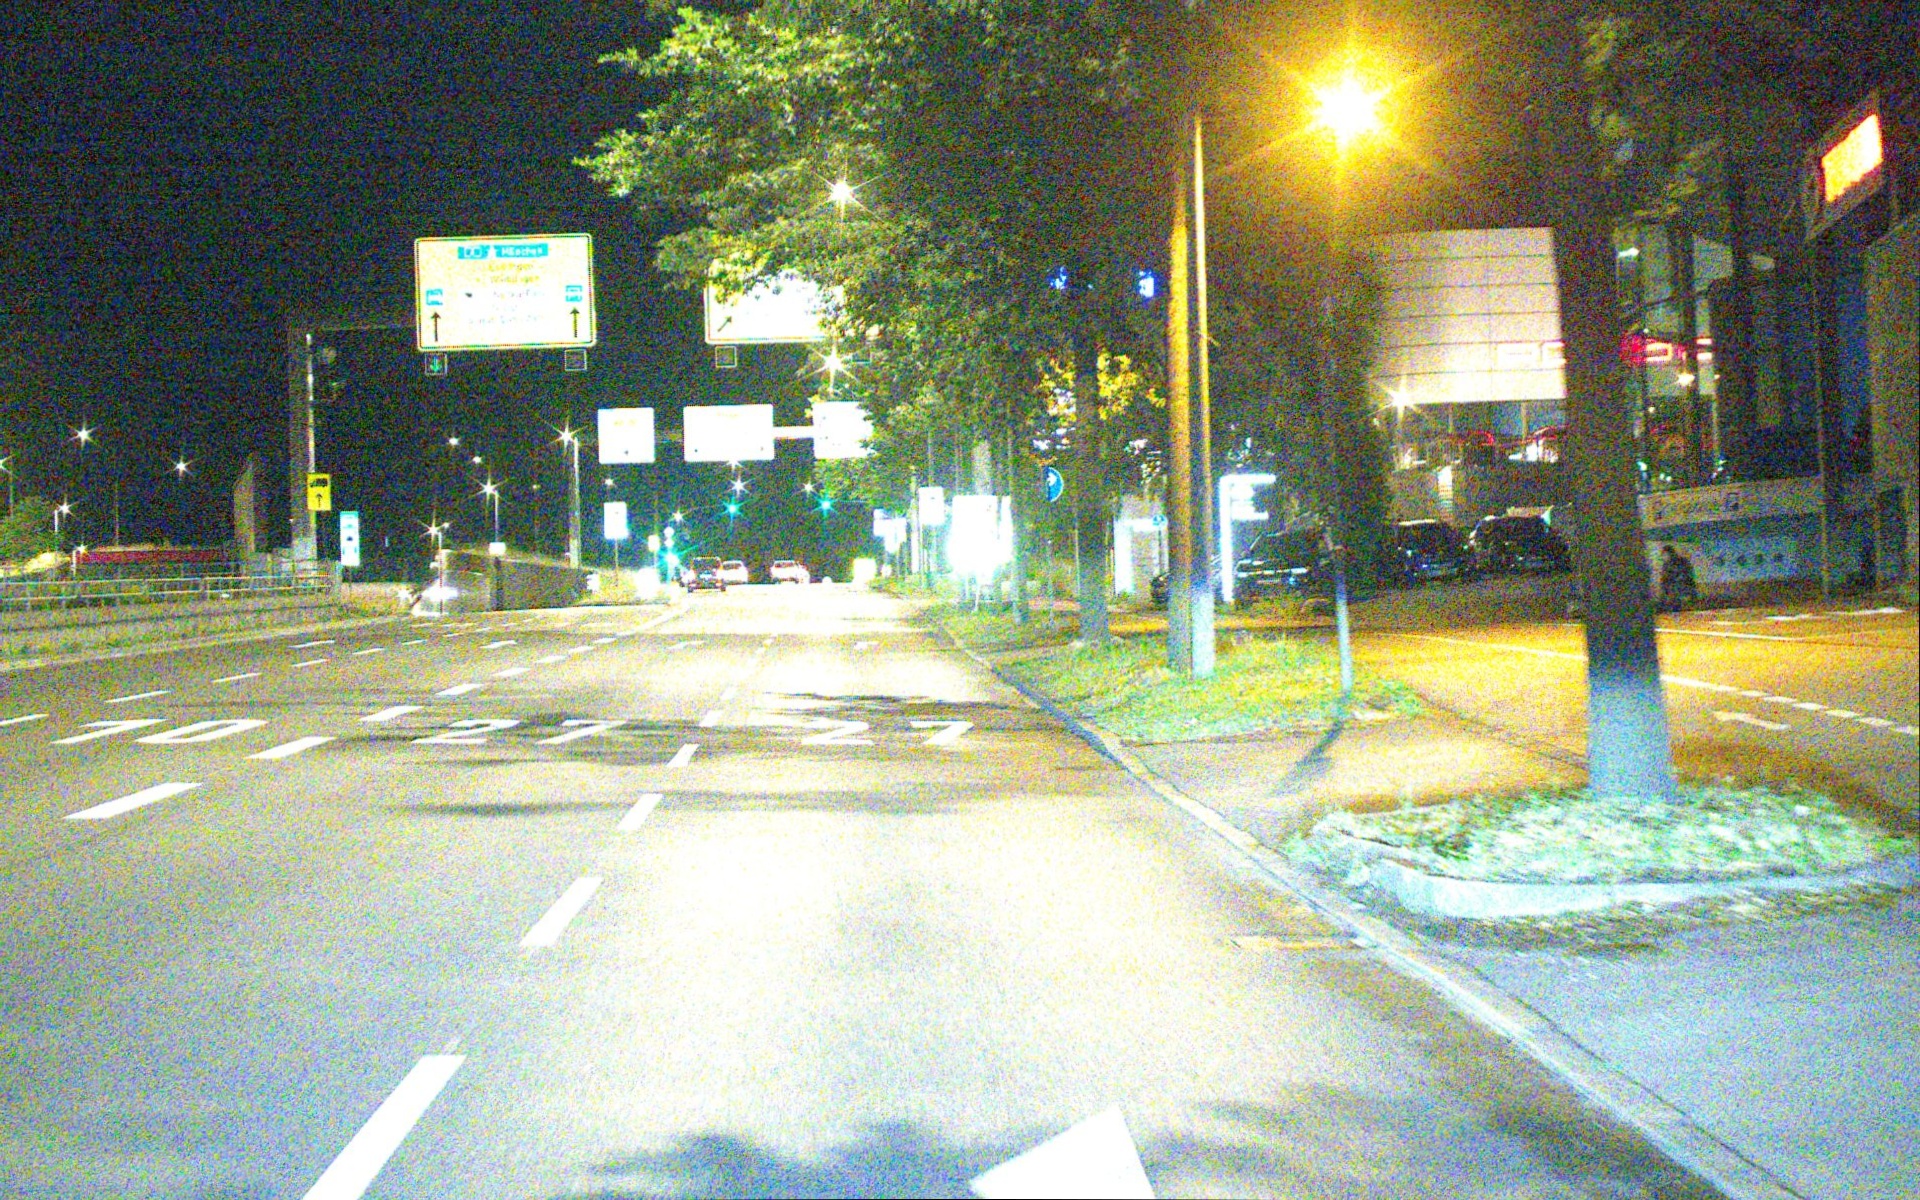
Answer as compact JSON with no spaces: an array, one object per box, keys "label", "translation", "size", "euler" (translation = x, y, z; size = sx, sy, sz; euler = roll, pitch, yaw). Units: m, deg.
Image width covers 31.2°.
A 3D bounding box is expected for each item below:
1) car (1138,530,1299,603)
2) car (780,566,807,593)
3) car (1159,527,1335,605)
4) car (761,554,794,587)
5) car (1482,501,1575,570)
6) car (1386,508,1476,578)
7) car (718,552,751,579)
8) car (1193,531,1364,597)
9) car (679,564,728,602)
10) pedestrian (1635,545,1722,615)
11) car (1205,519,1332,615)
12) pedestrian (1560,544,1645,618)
[{"label":"car","translation":[6.789,-0.870,90.476],"size":[3.986,1.850,1.822],"euler":[0,-1,-5]},{"label":"car","translation":[-10.900,-1.328,225.272],"size":[1.780,1.722,4.000],"euler":[0,-1,-2]},{"label":"car","translation":[6.953,-0.804,83.469],"size":[3.986,1.850,1.822],"euler":[0,-1,-5]},{"label":"car","translation":[-11.389,-1.842,215.064],"size":[1.993,2.007,4.000],"euler":[0,-1,-2]},{"label":"car","translation":[13.363,-1.492,80.938],"size":[1.893,1.506,3.635],"euler":[0,-1,5]},{"label":"car","translation":[10.867,-1.307,79.474],"size":[1.893,1.506,3.635],"euler":[0,-1,5]},{"label":"car","translation":[-14.646,-2.242,223.681],"size":[1.993,1.590,4.000],"euler":[-1,-1,-2]},{"label":"car","translation":[7.207,-0.803,78.012],"size":[3.623,1.446,1.708],"euler":[0,-1,-5]},{"label":"car","translation":[-12.127,-0.803,162.681],"size":[1.968,1.705,4.000],"euler":[0,-1,1]},{"label":"pedestrian","translation":[10.544,-0.290,50.443],"size":[0.997,1.004,0.772],"euler":[0,-1,-17]},{"label":"car","translation":[6.559,-0.658,72.750],"size":[1.995,1.938,3.997],"euler":[0,-1,16]},{"label":"pedestrian","translation":[9.411,-0.275,50.351],"size":[0.913,1.035,0.770],"euler":[-2,0,42]}]
